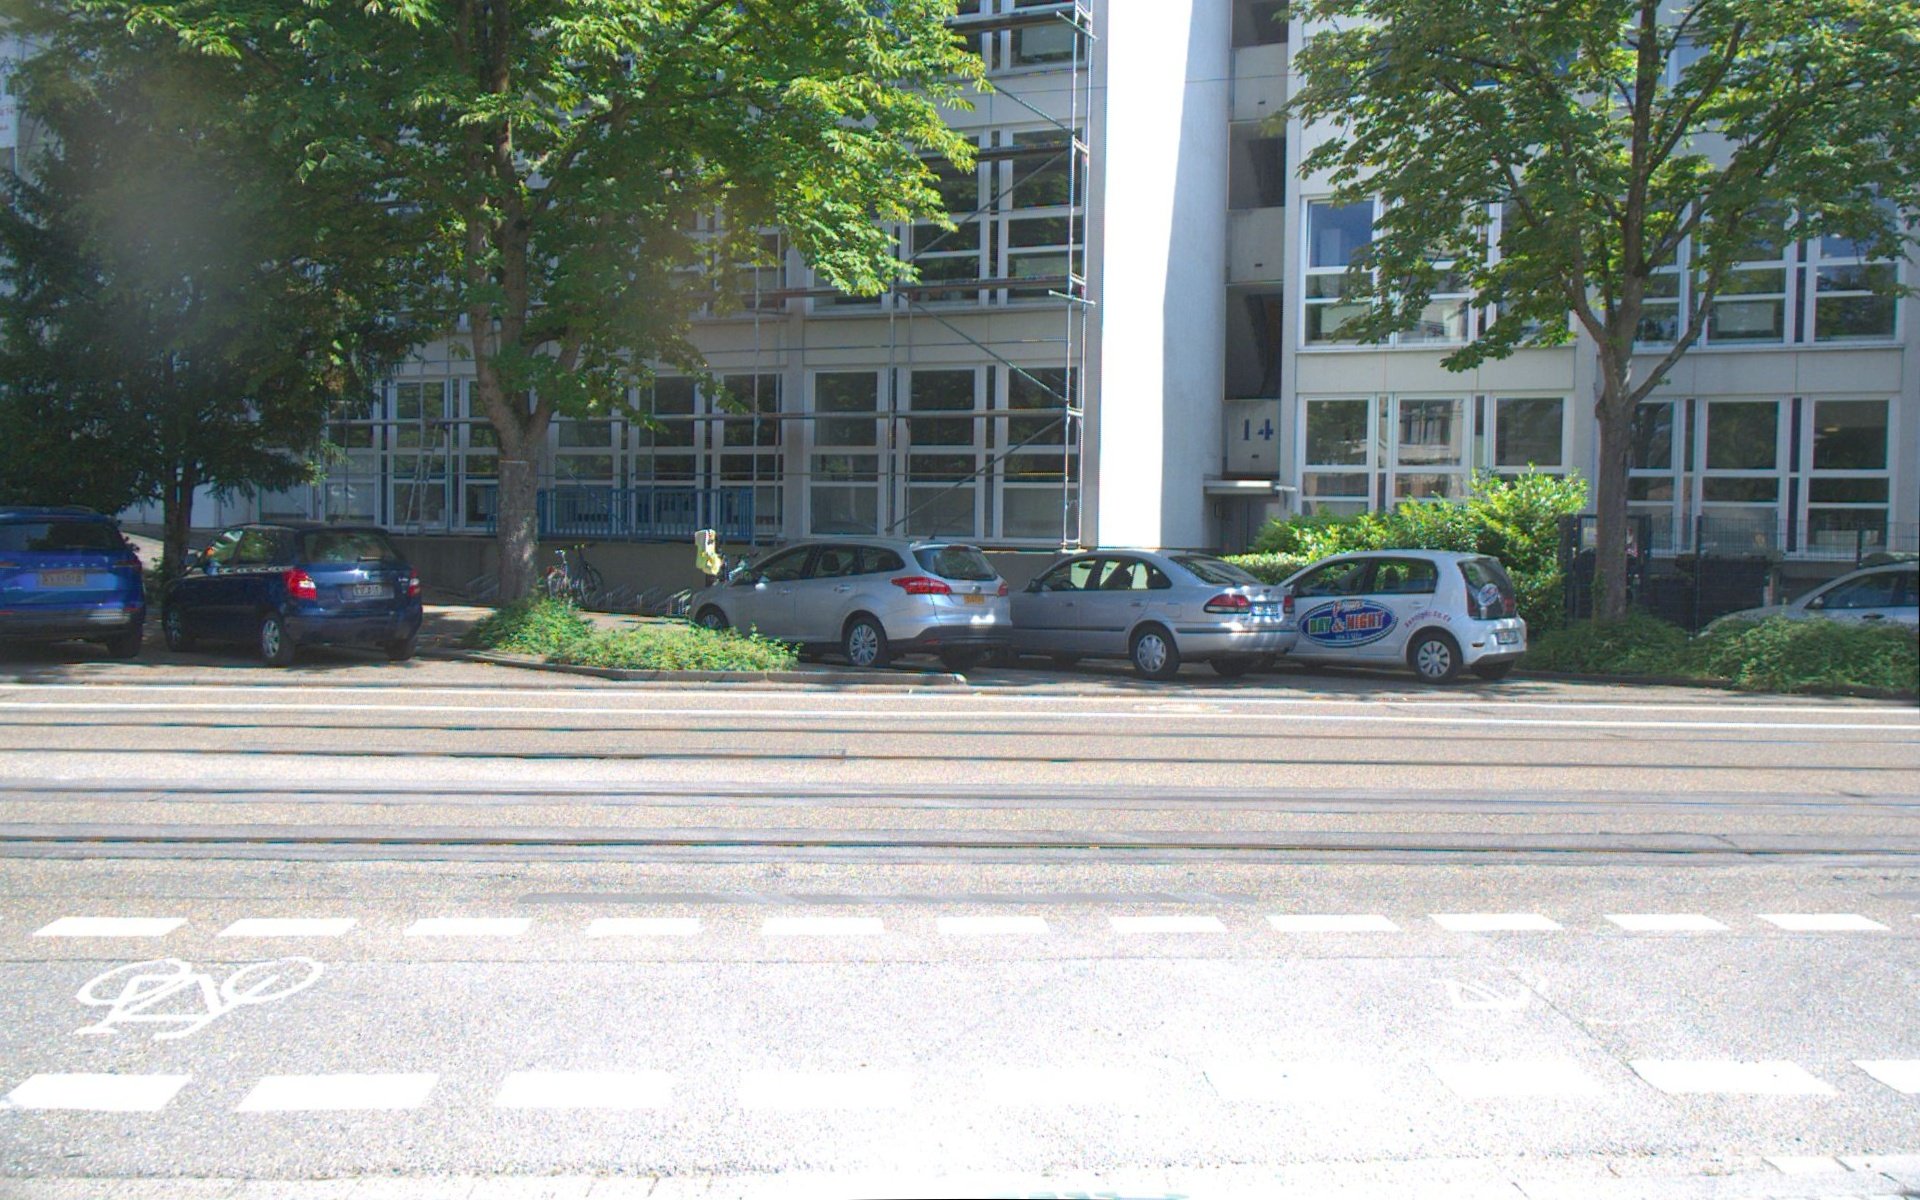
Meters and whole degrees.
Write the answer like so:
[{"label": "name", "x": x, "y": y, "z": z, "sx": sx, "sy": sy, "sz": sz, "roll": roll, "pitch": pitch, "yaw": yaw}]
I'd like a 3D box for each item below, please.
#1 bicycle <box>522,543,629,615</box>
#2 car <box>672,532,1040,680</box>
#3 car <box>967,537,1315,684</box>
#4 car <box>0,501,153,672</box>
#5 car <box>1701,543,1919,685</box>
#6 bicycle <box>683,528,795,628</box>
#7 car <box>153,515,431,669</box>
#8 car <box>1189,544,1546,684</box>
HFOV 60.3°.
[{"label": "bicycle", "x": -6.148, "y": -0.363, "z": 26.589, "sx": 0.725, "sy": 1.104, "sz": 2.205, "roll": 1, "pitch": 2, "yaw": 15}, {"label": "car", "x": -1.312, "y": -0.012, "z": 19.401, "sx": 4.356, "sy": 1.511, "sz": 1.774, "roll": 3, "pitch": 3, "yaw": 42}, {"label": "car", "x": 2.032, "y": 0.049, "z": 19.324, "sx": 3.878, "sy": 1.511, "sz": 1.602, "roll": 3, "pitch": 3, "yaw": 44}, {"label": "car", "x": -10.537, "y": -0.243, "z": 18.348, "sx": 1.767, "sy": 1.650, "sz": 3.883, "roll": -2, "pitch": 5, "yaw": -44}, {"label": "car", "x": 11.463, "y": 0.158, "z": 20.061, "sx": 4.262, "sy": 1.632, "sz": 1.551, "roll": 2, "pitch": 2, "yaw": 39}, {"label": "bicycle", "x": -3.429, "y": -0.363, "z": 25.832, "sx": 0.648, "sy": 1.478, "sz": 2.088, "roll": 2, "pitch": 2, "yaw": 27}, {"label": "car", "x": -7.531, "y": -0.150, "z": 18.540, "sx": 3.396, "sy": 1.557, "sz": 1.567, "roll": 3, "pitch": 3, "yaw": 42}, {"label": "car", "x": 4.783, "y": 0.103, "z": 19.730, "sx": 3.876, "sy": 1.512, "sz": 1.603, "roll": 1, "pitch": 2, "yaw": 43}]
